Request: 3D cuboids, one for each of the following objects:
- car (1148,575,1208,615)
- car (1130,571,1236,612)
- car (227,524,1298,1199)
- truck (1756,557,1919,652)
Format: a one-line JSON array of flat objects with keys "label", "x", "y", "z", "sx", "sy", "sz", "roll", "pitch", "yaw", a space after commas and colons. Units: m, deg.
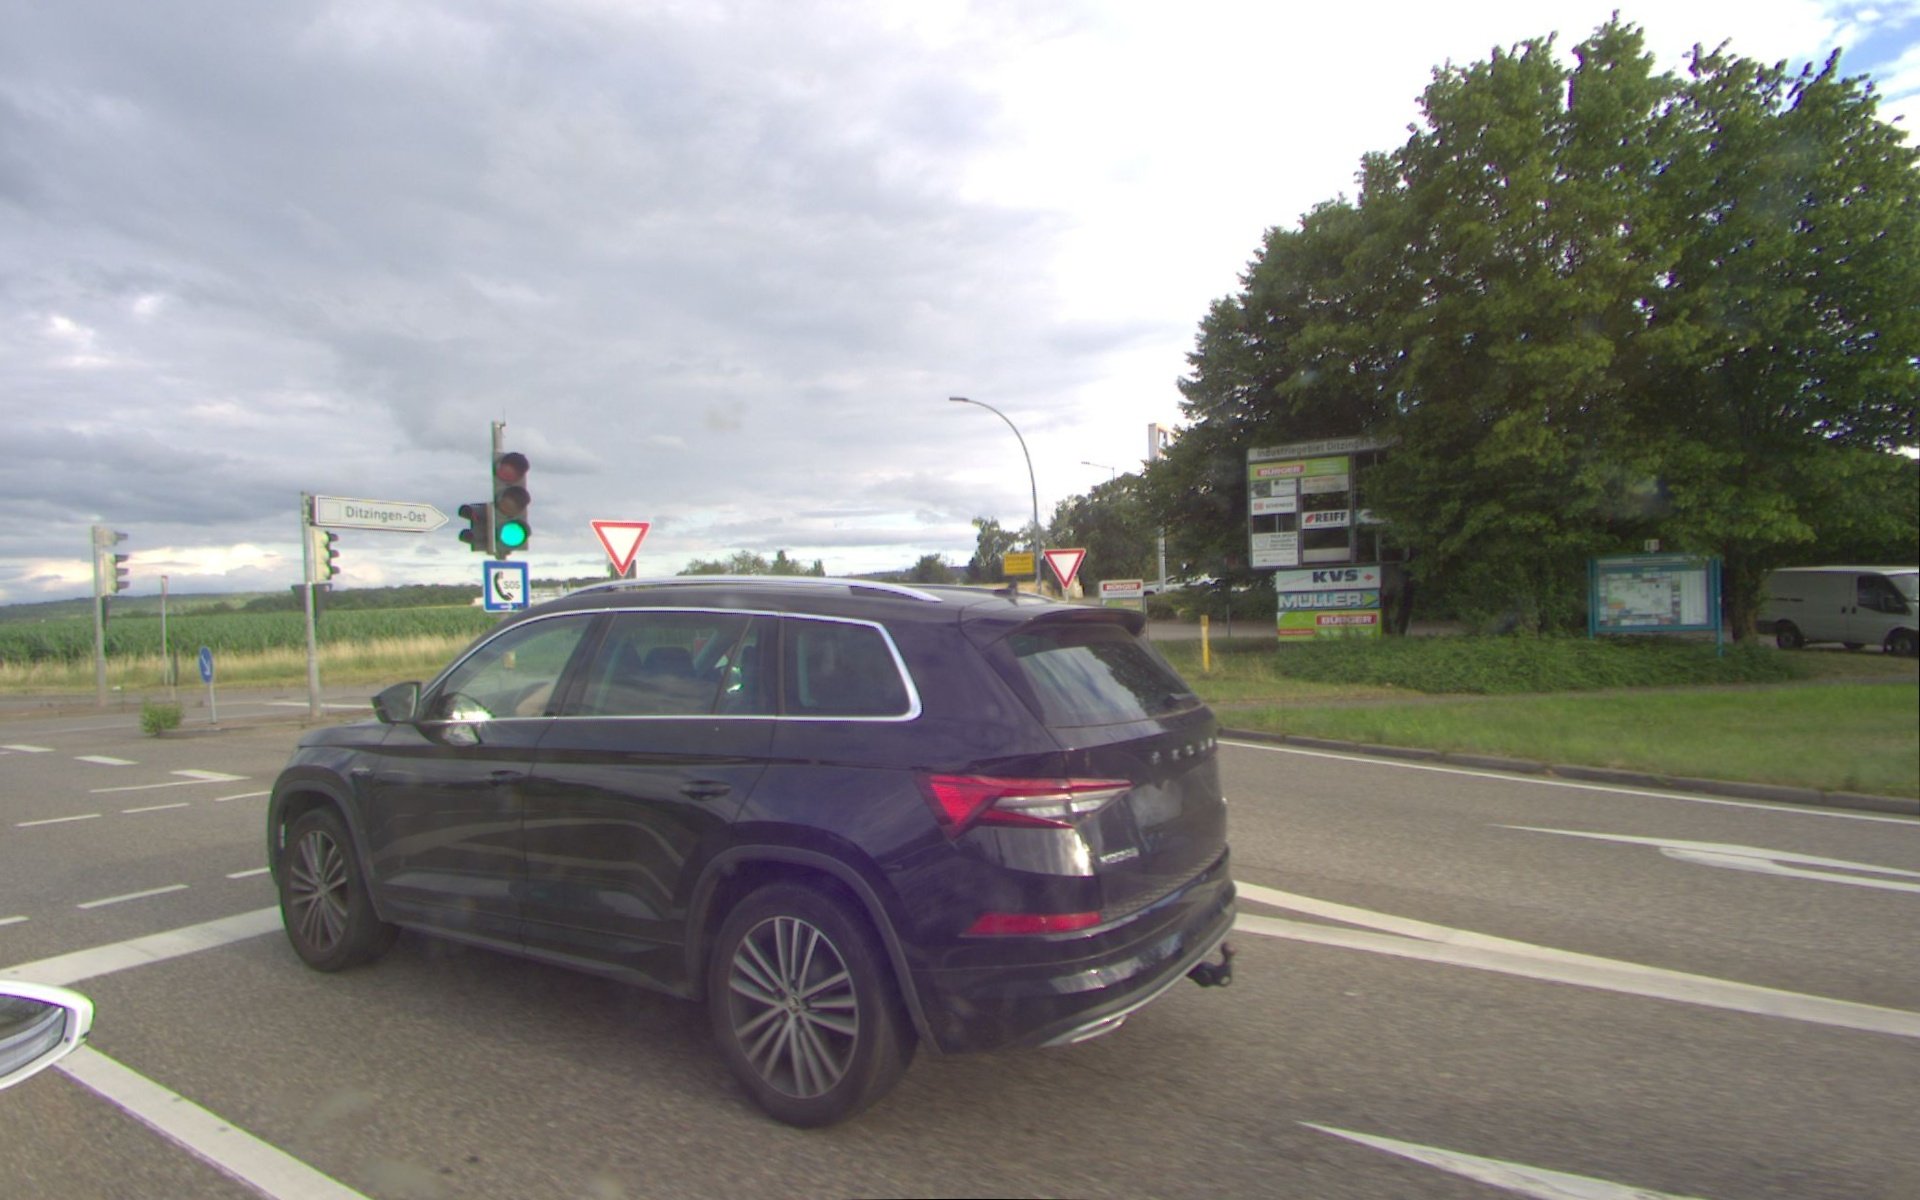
[{"label": "car", "x": 11.701, "y": -0.314, "z": 53.536, "sx": 1.931, "sy": 1.909, "sz": 4.284, "roll": -1, "pitch": 2, "yaw": 29}, {"label": "car", "x": 12.681, "y": -0.481, "z": 57.024, "sx": 5.525, "sy": 2.040, "sz": 1.992, "roll": -2, "pitch": 1, "yaw": 26}, {"label": "car", "x": -1.044, "y": 0.736, "z": 4.266, "sx": 4.417, "sy": 1.671, "sz": 1.842, "roll": -1, "pitch": -2, "yaw": 32}, {"label": "truck", "x": 21.258, "y": 0.140, "z": 23.168, "sx": 1.788, "sy": 2.022, "sz": 4.672, "roll": 0, "pitch": -1, "yaw": -3}]
